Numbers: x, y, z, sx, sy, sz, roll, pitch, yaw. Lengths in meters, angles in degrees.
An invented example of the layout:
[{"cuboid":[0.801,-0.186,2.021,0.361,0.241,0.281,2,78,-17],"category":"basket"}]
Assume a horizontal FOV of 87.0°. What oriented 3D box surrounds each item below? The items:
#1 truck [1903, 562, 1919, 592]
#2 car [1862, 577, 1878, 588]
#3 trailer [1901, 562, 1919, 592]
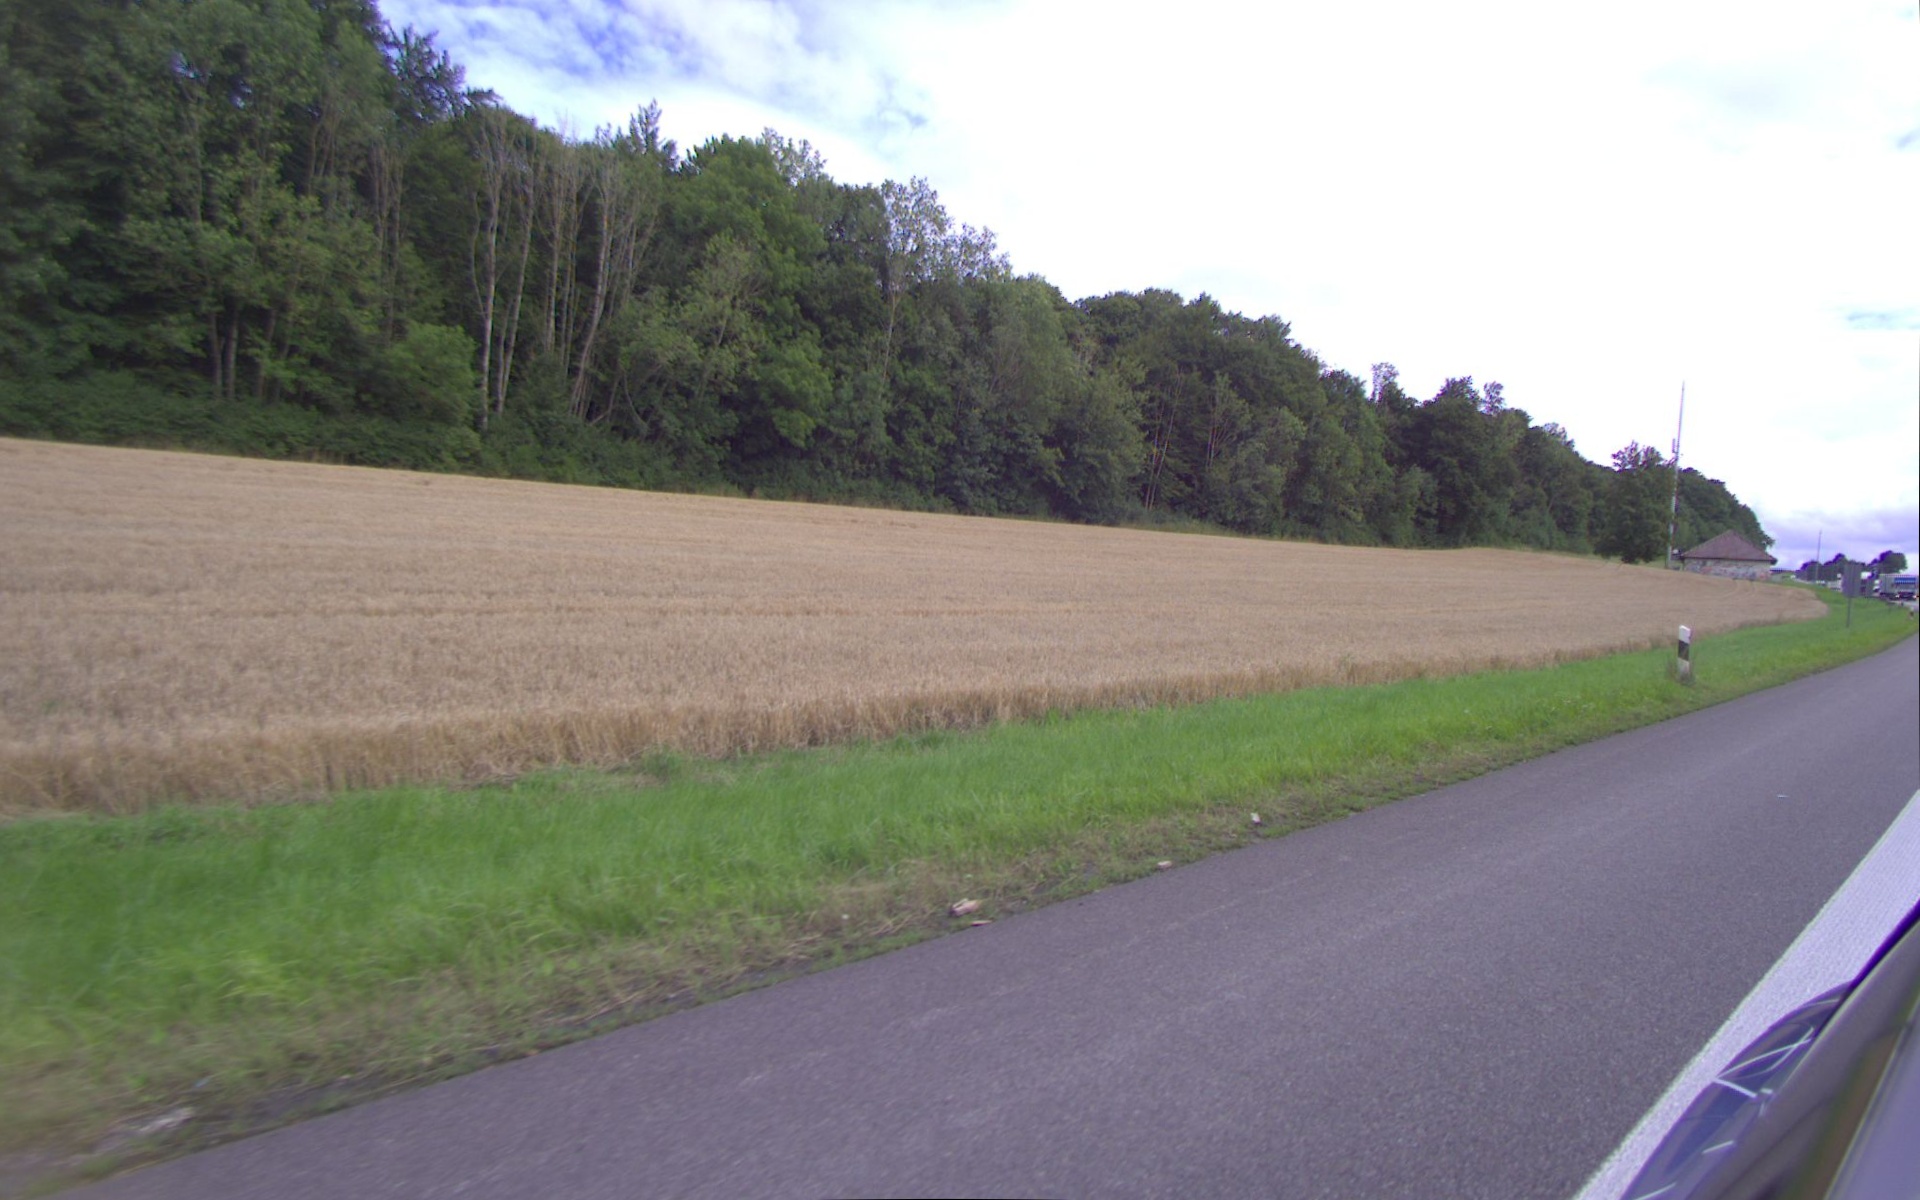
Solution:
[{"cuboid":[128.501,-3.075,135.728,2.787,4.021,5.851,1,1,42],"category":"truck"},{"cuboid":[164.077,-3.197,182.474,1.994,2.039,3.936,0,1,44],"category":"car"},{"cuboid":[131.991,-3.146,139.676,2.778,4.004,11.127,1,2,41],"category":"trailer"}]
